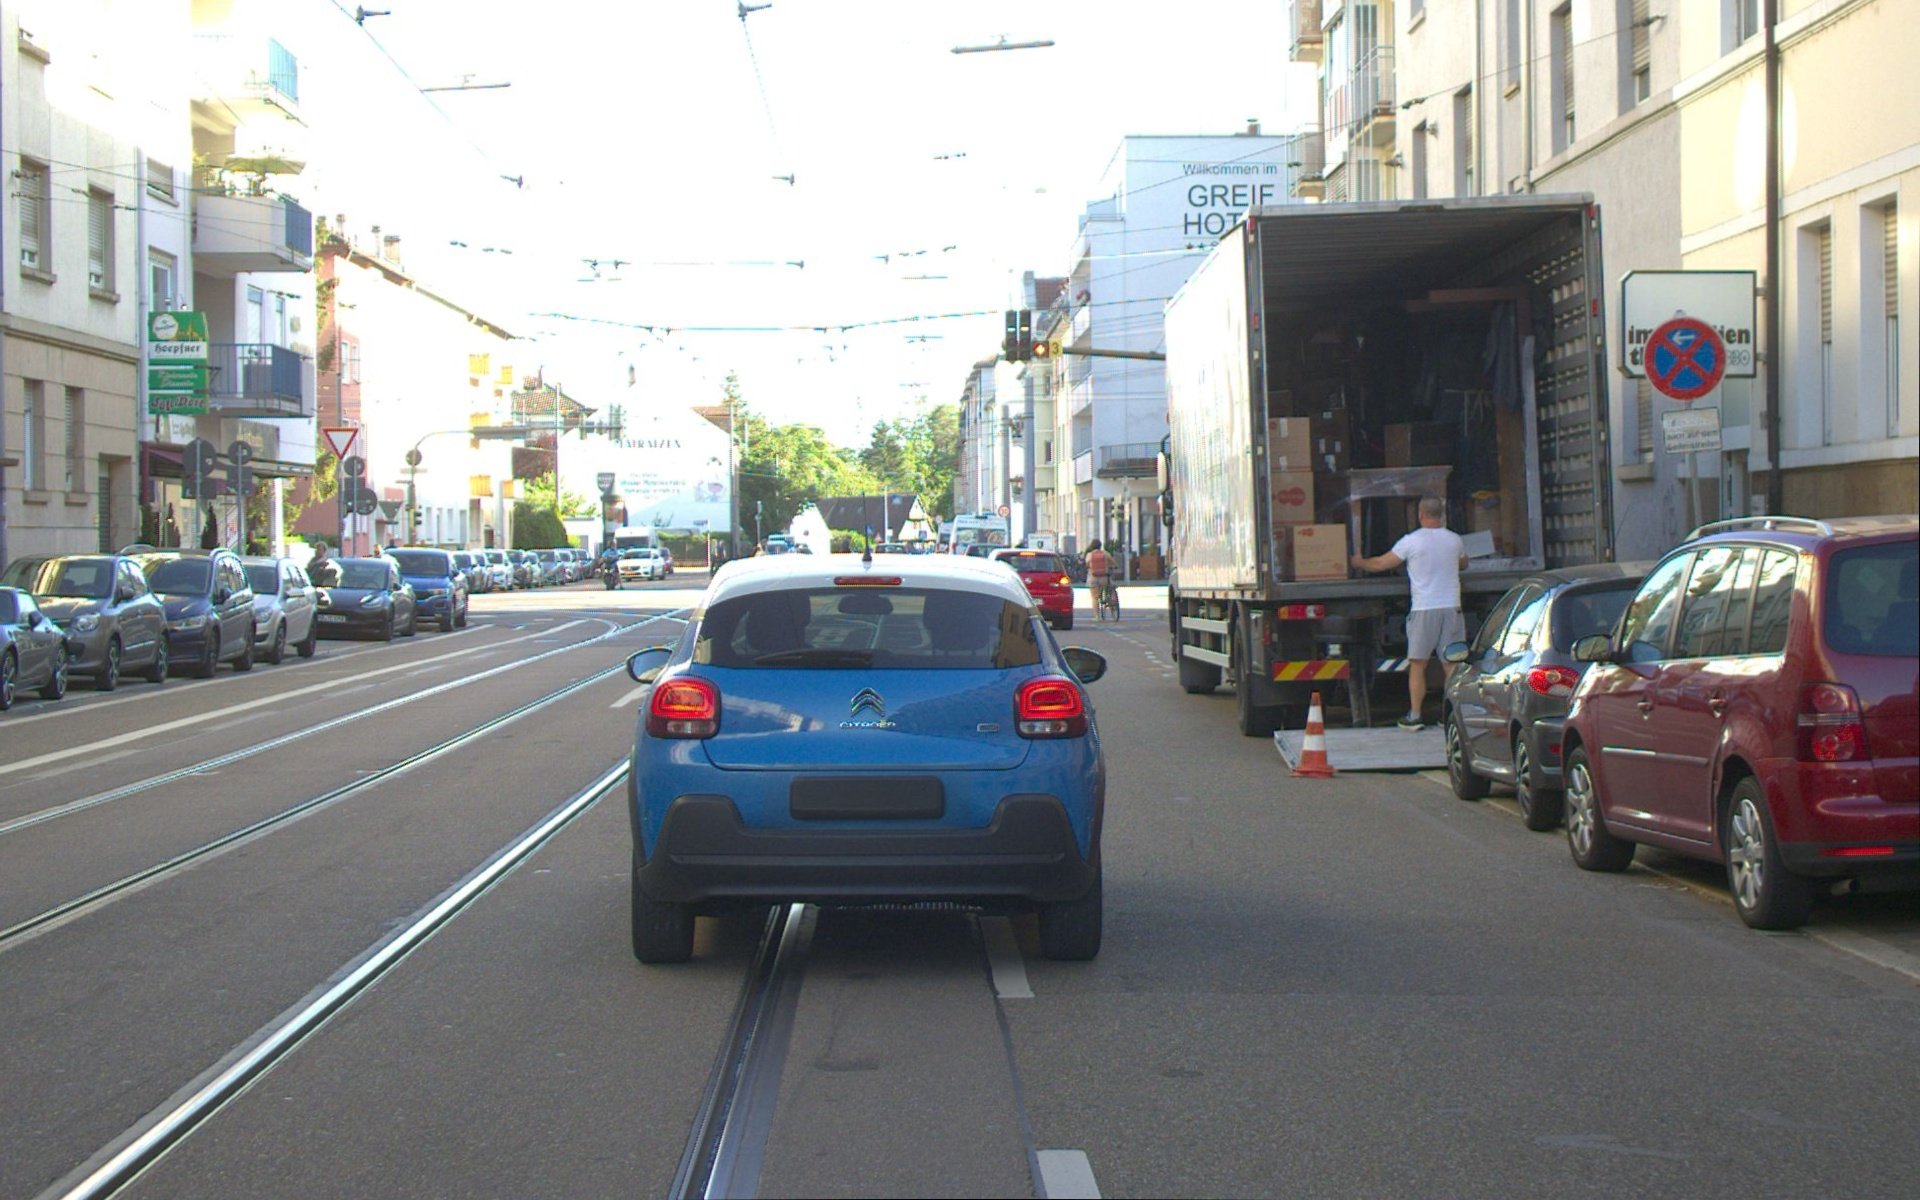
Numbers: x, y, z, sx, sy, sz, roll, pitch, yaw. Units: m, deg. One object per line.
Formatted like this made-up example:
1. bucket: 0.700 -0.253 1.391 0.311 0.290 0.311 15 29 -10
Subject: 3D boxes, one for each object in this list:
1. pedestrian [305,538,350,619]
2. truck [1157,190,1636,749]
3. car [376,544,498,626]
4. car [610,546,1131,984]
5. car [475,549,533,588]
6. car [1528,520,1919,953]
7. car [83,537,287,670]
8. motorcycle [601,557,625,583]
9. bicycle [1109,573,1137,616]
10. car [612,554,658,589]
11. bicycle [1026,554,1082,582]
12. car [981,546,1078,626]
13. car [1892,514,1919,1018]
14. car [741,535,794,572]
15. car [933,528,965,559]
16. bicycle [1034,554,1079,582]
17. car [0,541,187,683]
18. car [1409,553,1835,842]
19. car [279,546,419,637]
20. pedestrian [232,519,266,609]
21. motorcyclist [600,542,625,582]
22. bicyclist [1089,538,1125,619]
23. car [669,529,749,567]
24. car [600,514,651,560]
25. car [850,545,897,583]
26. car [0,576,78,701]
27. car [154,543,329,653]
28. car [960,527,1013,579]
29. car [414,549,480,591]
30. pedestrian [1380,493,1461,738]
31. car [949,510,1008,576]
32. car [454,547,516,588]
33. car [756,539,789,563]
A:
1. pedestrian: -12.144 -0.421 65.999 0.697 1.543 0.721 0 1 2
2. truck: 3.537 -1.069 31.083 2.860 4.059 11.779 -1 1 0
3. car: -10.092 -0.289 66.533 1.744 1.504 4.000 1 0 0
4. car: -0.431 0.533 13.689 1.743 1.457 4.001 1 1 -4
5. car: -18.206 -1.279 137.348 1.911 1.492 4.000 0 1 -2
6. car: 3.777 0.467 15.090 1.591 1.603 4.247 -2 1 -3
7. car: -10.005 0.028 44.663 1.699 1.610 4.244 1 0 0
8. motorcycle: -11.940 -1.026 118.342 0.615 0.861 1.671 0 1 2
9. bicycle: 3.331 -0.116 70.357 0.498 0.861 1.749 0 1 0
10. car: -14.755 -1.308 156.174 1.849 1.568 4.402 0 1 -3
11. bicycle: 3.208 -1.093 117.373 1.874 0.953 0.701 0 1 4
12. car: 1.315 -0.287 63.821 1.738 1.415 4.000 0 1 2
13. car: 4.093 0.555 9.257 1.789 1.646 4.367 -2 1 -2
14. car: -7.953 -1.919 142.378 1.993 1.503 4.000 0 1 -1
15. car: -0.584 -2.994 181.805 1.689 1.612 4.000 1 1 0
16. bicycle: 3.260 -1.079 116.310 1.504 0.953 0.701 0 1 4
17. car: -10.379 0.114 40.366 1.699 1.563 4.000 1 0 0
18. car: 3.735 0.485 20.009 1.582 1.458 3.881 -2 1 -2
19. car: -10.710 -0.166 60.482 1.699 1.504 4.312 1 0 0
20. pedestrian: -15.843 -0.810 76.616 0.686 2.007 0.486 0 1 -3
21. motorcyclist: -11.937 -1.310 118.182 0.719 1.373 0.911 0 1 3
22. bicyclist: 3.014 -0.443 70.473 0.726 1.640 0.790 0 1 2
23. car: -11.153 -2.302 152.385 1.809 1.634 4.000 -1 1 -33
24. car: -16.721 -3.143 172.103 2.207 2.243 4.677 0 1 -2
25. car: -3.726 -1.565 148.530 1.993 1.612 4.000 1 1 -1
26. car: -10.341 0.356 35.272 1.699 1.211 3.786 1 0 -2
27. car: -10.457 -0.046 50.305 1.699 1.504 4.387 1 0 -1
28. car: 0.892 -1.620 117.956 1.732 1.744 3.214 1 1 -1
29. car: -17.897 -1.071 120.182 1.911 1.428 4.001 0 1 -3
30. pedestrian: 3.362 0.109 25.111 0.512 1.769 0.416 -1 1 -1
31. car: 0.645 -2.027 122.884 1.993 2.317 4.000 1 1 -1
32. car: -18.008 -1.254 130.548 1.911 1.492 4.000 0 1 -2
33. car: -12.035 -3.122 220.577 2.021 1.520 4.000 0 1 -2
